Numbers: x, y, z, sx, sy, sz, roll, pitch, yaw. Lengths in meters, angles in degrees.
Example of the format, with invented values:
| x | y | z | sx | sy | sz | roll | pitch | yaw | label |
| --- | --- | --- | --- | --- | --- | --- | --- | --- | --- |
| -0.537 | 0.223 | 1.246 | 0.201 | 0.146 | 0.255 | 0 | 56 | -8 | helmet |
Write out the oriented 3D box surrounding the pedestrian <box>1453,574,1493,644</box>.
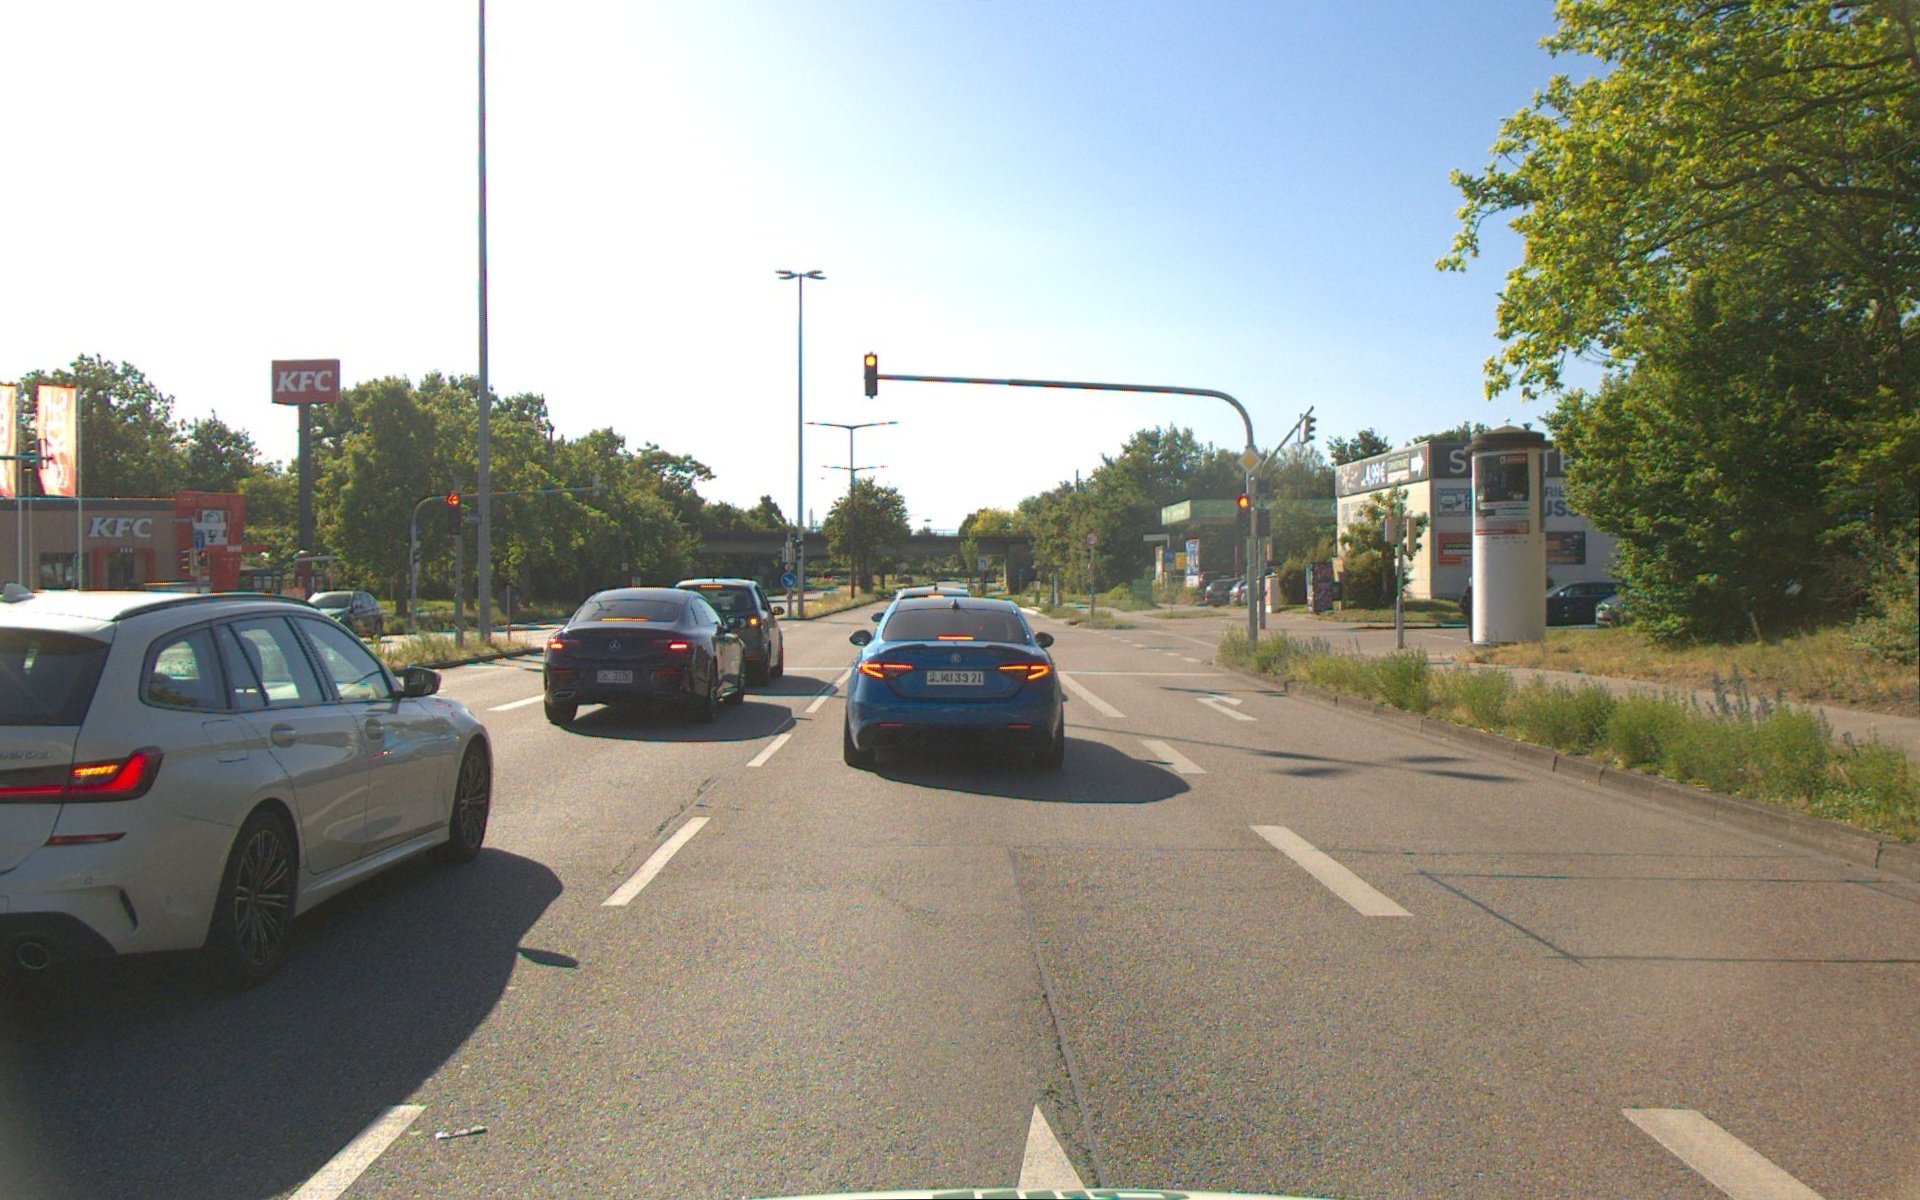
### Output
| x | y | z | sx | sy | sz | roll | pitch | yaw | label |
| --- | --- | --- | --- | --- | --- | --- | --- | --- | --- |
| 12.613 | 0.213 | 40.681 | 0.800 | 1.698 | 0.514 | 1 | 0 | -1 | pedestrian |

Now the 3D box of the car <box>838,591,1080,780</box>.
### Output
| x | y | z | sx | sy | sz | roll | pitch | yaw | label |
| --- | --- | --- | --- | --- | --- | --- | --- | --- | --- |
| 0.025 | 0.671 | 14.791 | 1.870 | 1.447 | 3.719 | 1 | 0 | 1 | car |

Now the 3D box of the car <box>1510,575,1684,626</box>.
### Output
| x | y | z | sx | sy | sz | roll | pitch | yaw | label |
| --- | --- | --- | --- | --- | --- | --- | --- | --- | --- |
| 19.789 | 0.012 | 51.482 | 4.722 | 1.493 | 1.758 | 1 | 0 | -2 | car |

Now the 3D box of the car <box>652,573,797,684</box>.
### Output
| x | y | z | sx | sy | sz | roll | pitch | yaw | label |
| --- | --- | --- | --- | --- | --- | --- | --- | --- | --- |
| -3.613 | 0.423 | 26.066 | 1.776 | 1.578 | 4.351 | 1 | 0 | -2 | car |

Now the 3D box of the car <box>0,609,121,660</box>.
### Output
| x | y | z | sx | sy | sz | roll | pitch | yaw | label |
| --- | --- | --- | --- | --- | --- | --- | --- | --- | --- |
| -29.381 | 1.105 | 53.468 | 3.701 | 1.586 | 1.990 | 1 | 0 | -18 | car |

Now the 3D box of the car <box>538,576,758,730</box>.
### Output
| x | y | z | sx | sy | sz | roll | pitch | yaw | label |
| --- | --- | --- | --- | --- | --- | --- | --- | --- | --- |
| -3.482 | 0.528 | 19.254 | 1.775 | 1.578 | 4.542 | 0 | 0 | -1 | car |

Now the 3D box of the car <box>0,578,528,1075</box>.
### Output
| x | y | z | sx | sy | sz | roll | pitch | yaw | label |
| --- | --- | --- | --- | --- | --- | --- | --- | --- | --- |
| -3.394 | 0.686 | 7.340 | 1.775 | 1.512 | 4.595 | 1 | 0 | -1 | car |

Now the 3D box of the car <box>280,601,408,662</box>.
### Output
| x | y | z | sx | sy | sz | roll | pitch | yaw | label |
| --- | --- | --- | --- | --- | --- | --- | --- | --- | --- |
| -19.280 | 0.937 | 51.966 | 1.764 | 1.756 | 4.326 | 0 | 1 | 11 | car |

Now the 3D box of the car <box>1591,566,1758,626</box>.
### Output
| x | y | z | sx | sy | sz | roll | pitch | yaw | label |
| --- | --- | --- | --- | --- | --- | --- | --- | --- | --- |
| 20.961 | -0.119 | 48.617 | 4.219 | 1.678 | 1.638 | 1 | 0 | -1 | car |

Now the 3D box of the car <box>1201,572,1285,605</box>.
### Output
| x | y | z | sx | sy | sz | roll | pitch | yaw | label |
| --- | --- | --- | --- | --- | --- | --- | --- | --- | --- |
| 14.264 | -0.581 | 83.547 | 3.905 | 1.579 | 2.000 | 1 | 0 | 0 | car |

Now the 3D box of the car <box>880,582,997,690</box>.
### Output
| x | y | z | sx | sy | sz | roll | pitch | yaw | label |
| --- | --- | --- | --- | --- | --- | --- | --- | --- | --- |
| -0.269 | 0.520 | 25.695 | 1.669 | 1.523 | 3.719 | 1 | 0 | 1 | car |

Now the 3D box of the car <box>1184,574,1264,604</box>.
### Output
| x | y | z | sx | sy | sz | roll | pitch | yaw | label |
| --- | --- | --- | --- | --- | --- | --- | --- | --- | --- |
| 14.697 | -0.585 | 92.203 | 3.925 | 1.579 | 1.990 | 1 | 0 | -18 | car |
